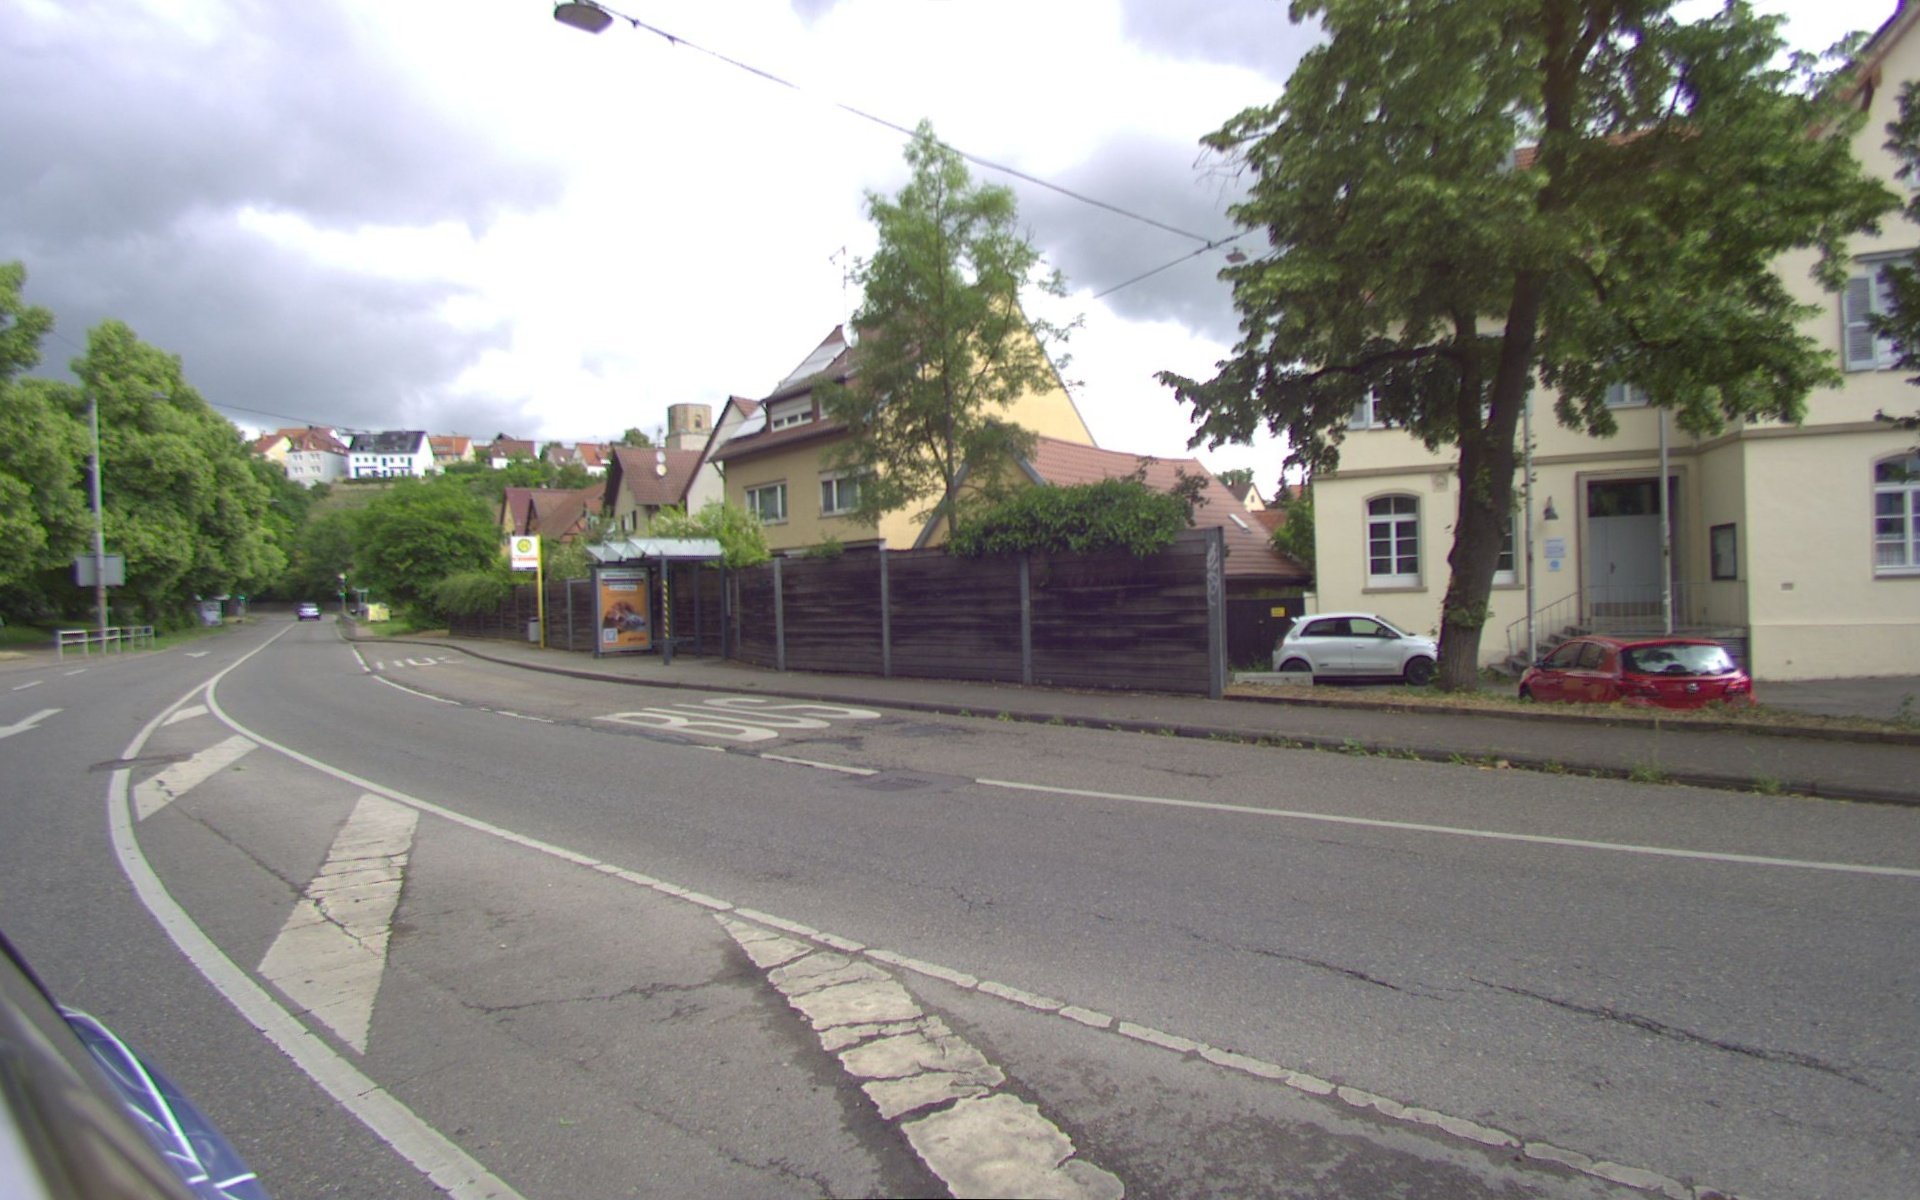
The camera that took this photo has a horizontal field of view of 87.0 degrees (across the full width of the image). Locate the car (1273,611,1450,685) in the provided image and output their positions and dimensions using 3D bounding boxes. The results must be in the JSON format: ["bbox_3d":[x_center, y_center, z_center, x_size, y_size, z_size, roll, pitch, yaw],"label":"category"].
[{"bbox_3d":[8.619,1.016,21.966,3.410,1.490,1.600,-1,0,20],"label":"car"}]

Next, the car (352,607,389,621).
[{"bbox_3d":[-67.355,1.579,115.627,3.620,1.596,1.770,-1,0,-29],"label":"car"}]

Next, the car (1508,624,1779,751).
[{"bbox_3d":[9.169,1.097,13.967,1.643,1.393,3.709,-1,0,9],"label":"car"}]

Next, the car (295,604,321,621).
[{"bbox_3d":[-67.518,1.286,104.766,1.967,1.630,4.009,-1,0,-36],"label":"car"}]
